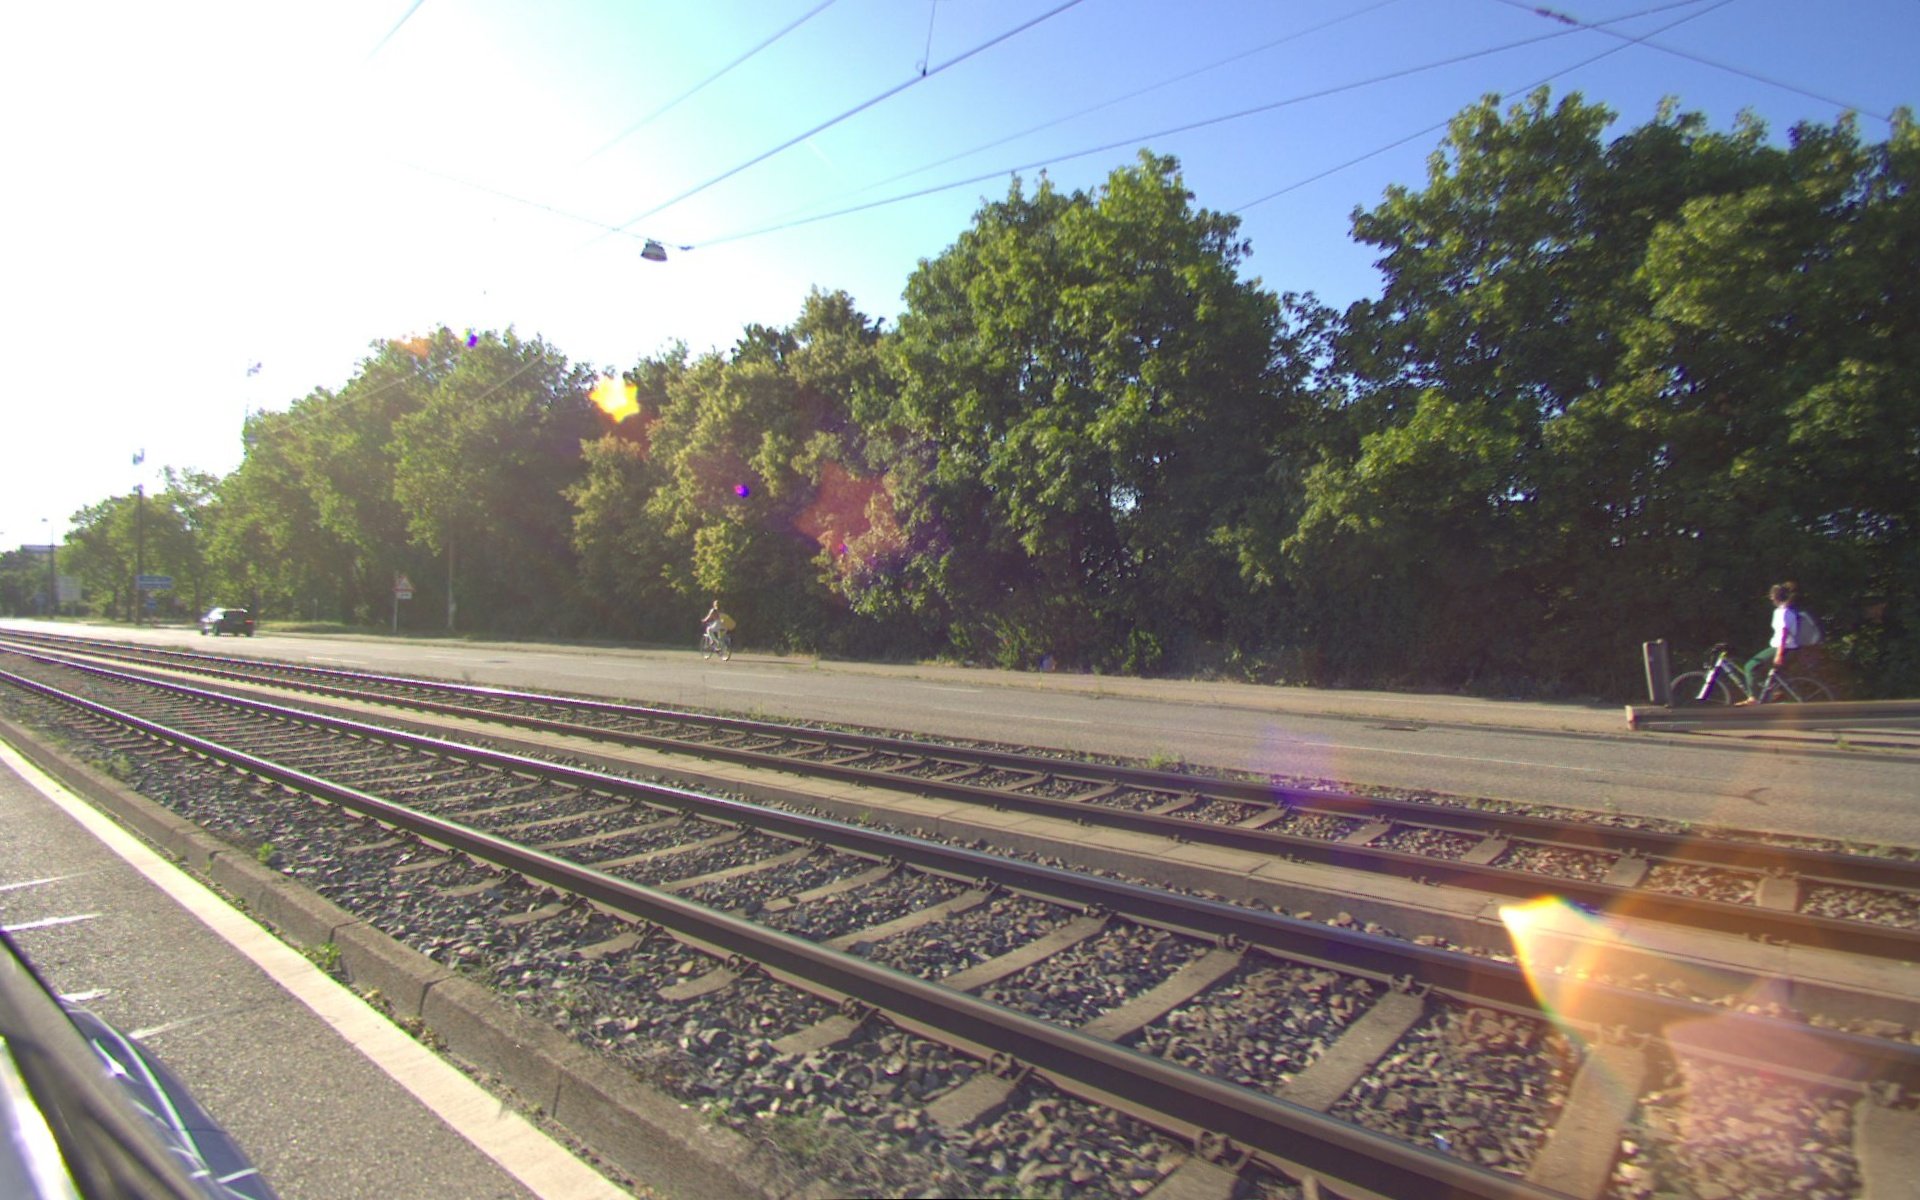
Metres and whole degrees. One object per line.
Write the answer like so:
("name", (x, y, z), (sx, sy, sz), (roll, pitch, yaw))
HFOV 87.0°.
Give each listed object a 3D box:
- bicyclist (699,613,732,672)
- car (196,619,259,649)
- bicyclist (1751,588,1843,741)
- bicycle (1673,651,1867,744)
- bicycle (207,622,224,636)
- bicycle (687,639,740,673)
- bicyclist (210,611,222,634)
("bicyclist", (-7.170, 1.230, 29.708), (0.919, 1.700, 0.502), (-1, 1, 44))
("car", (-43.749, 2.018, 60.427), (4.793, 1.698, 1.973), (0, -2, 41))
("bicyclist", (10.700, 0.795, 12.950), (0.875, 1.876, 0.534), (-1, 1, 41))
("bicycle", (10.478, 1.224, 13.156), (1.924, 1.051, 0.534), (-1, 1, 41))
("bicycle", (-54.988, 2.156, 74.720), (2.238, 0.993, 0.544), (-1, 1, 42))
("bicycle", (-7.285, 1.641, 29.838), (2.028, 0.899, 0.502), (-1, 1, 44))
("bicyclist", (-54.986, 1.665, 74.799), (0.544, 1.703, 0.821), (-2, 1, -45))
